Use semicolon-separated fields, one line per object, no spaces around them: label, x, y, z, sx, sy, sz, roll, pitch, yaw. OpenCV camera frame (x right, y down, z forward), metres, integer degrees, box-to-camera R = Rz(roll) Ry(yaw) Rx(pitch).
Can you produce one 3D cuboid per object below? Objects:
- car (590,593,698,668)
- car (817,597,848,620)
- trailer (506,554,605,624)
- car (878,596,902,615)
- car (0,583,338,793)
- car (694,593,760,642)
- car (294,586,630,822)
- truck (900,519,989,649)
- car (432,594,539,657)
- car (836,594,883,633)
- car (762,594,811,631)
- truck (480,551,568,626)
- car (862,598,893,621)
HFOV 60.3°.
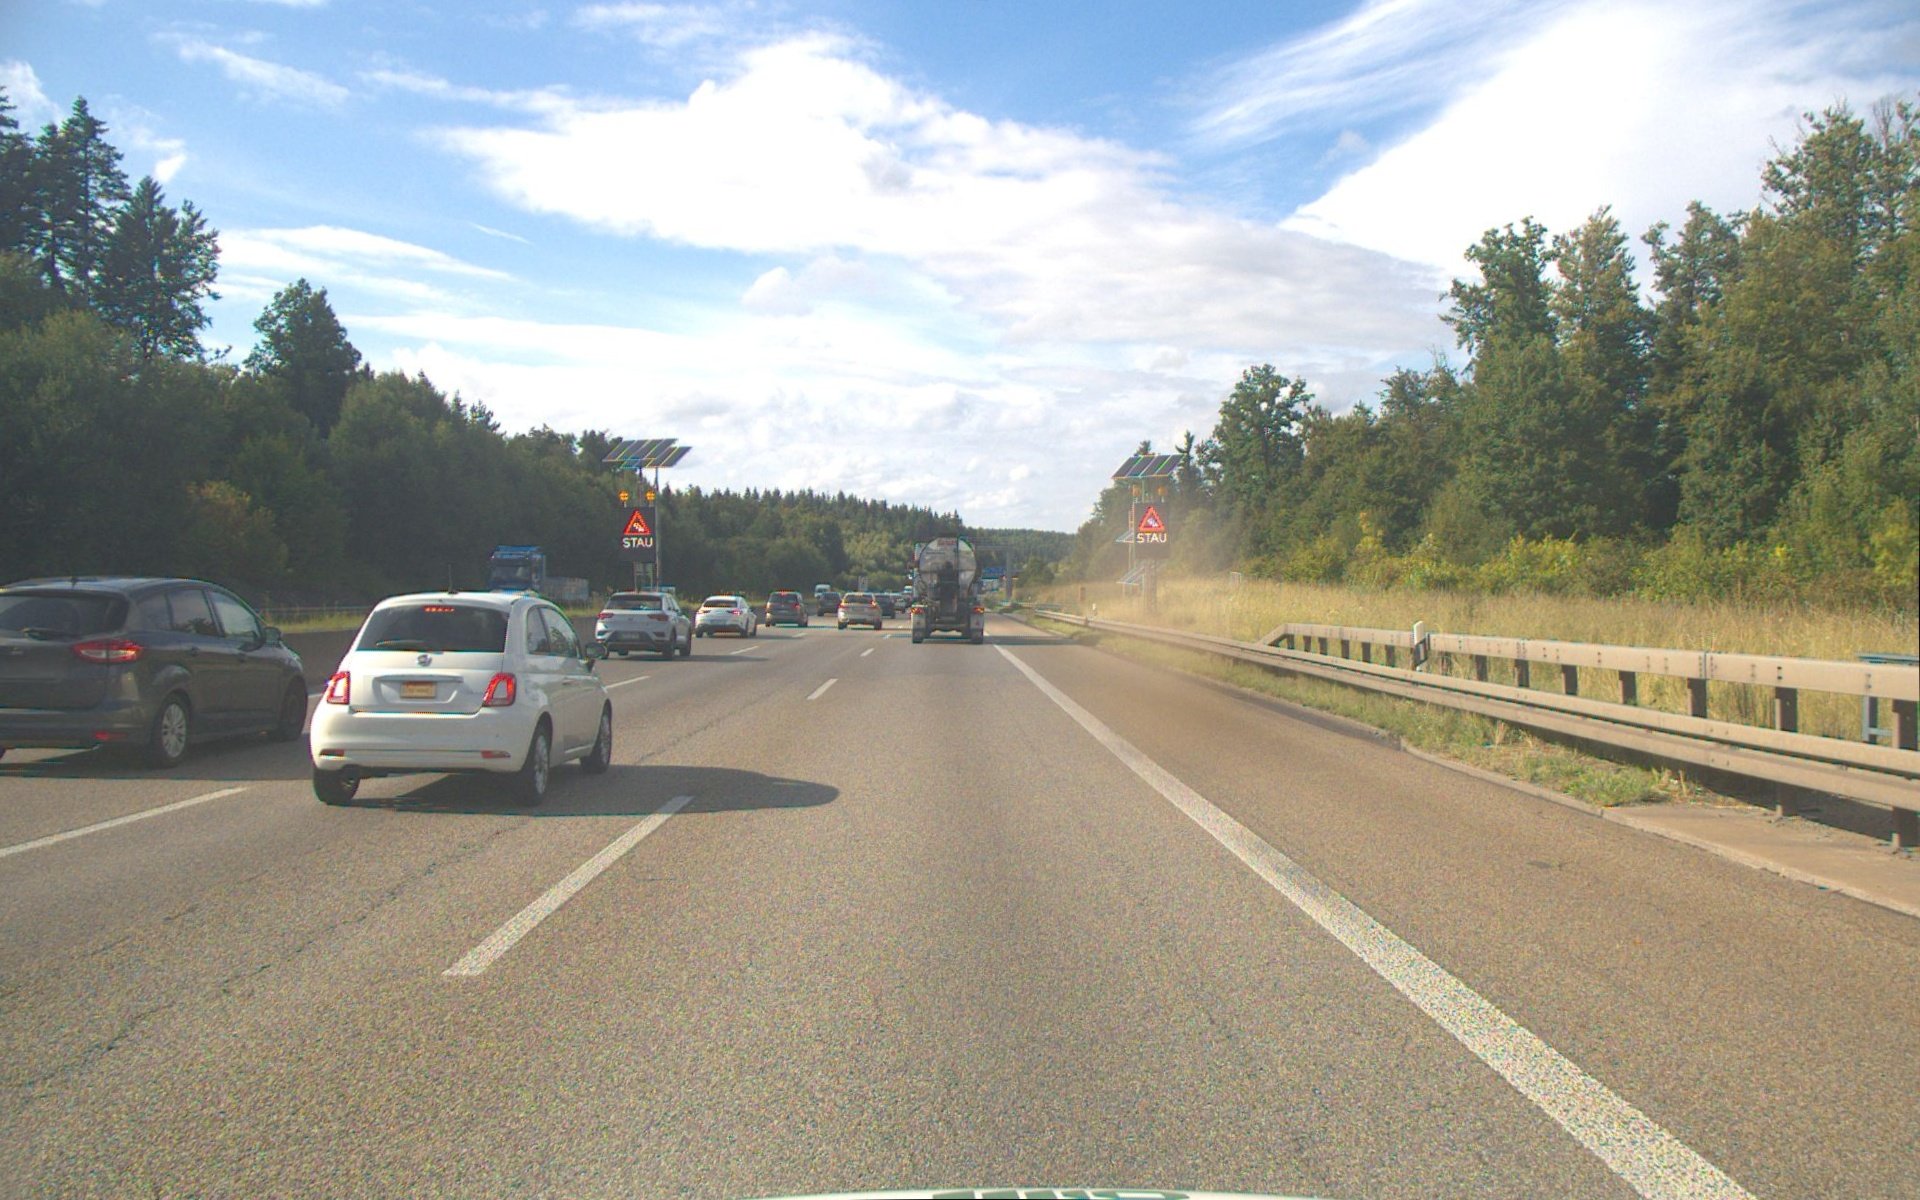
car;-7.405;0.669;39.127;1.770;1.613;4.206;1;1;-1
car;-8.900;0.582;115.609;1.903;1.482;4.206;1;1;-1
trailer;-24.021;-0.590;99.060;3.060;3.905;12.207;0;0;-1
car;-5.938;0.480;140.124;1.903;1.482;4.206;1;1;-1
car;-7.335;0.672;15.067;1.770;1.613;4.206;1;1;-1
car;-8.195;0.591;58.572;1.770;1.613;4.206;1;1;-1
car;-3.724;0.713;12.978;1.585;1.572;3.519;1;0;-1
truck;-0.524;-0.525;59.494;2.853;4.230;11.268;0;0;0
car;-15.962;0.834;55.943;2.054;1.958;5.283;3;0;-1
car;-4.515;0.581;74.895;1.903;1.683;4.206;1;1;-1
car;-8.158;0.566;78.163;1.903;1.613;4.206;1;1;-1
truck;-23.926;-0.610;91.104;3.051;3.905;7.121;0;0;-1
car;-5.473;0.616;109.840;1.903;1.482;4.206;1;1;-1
